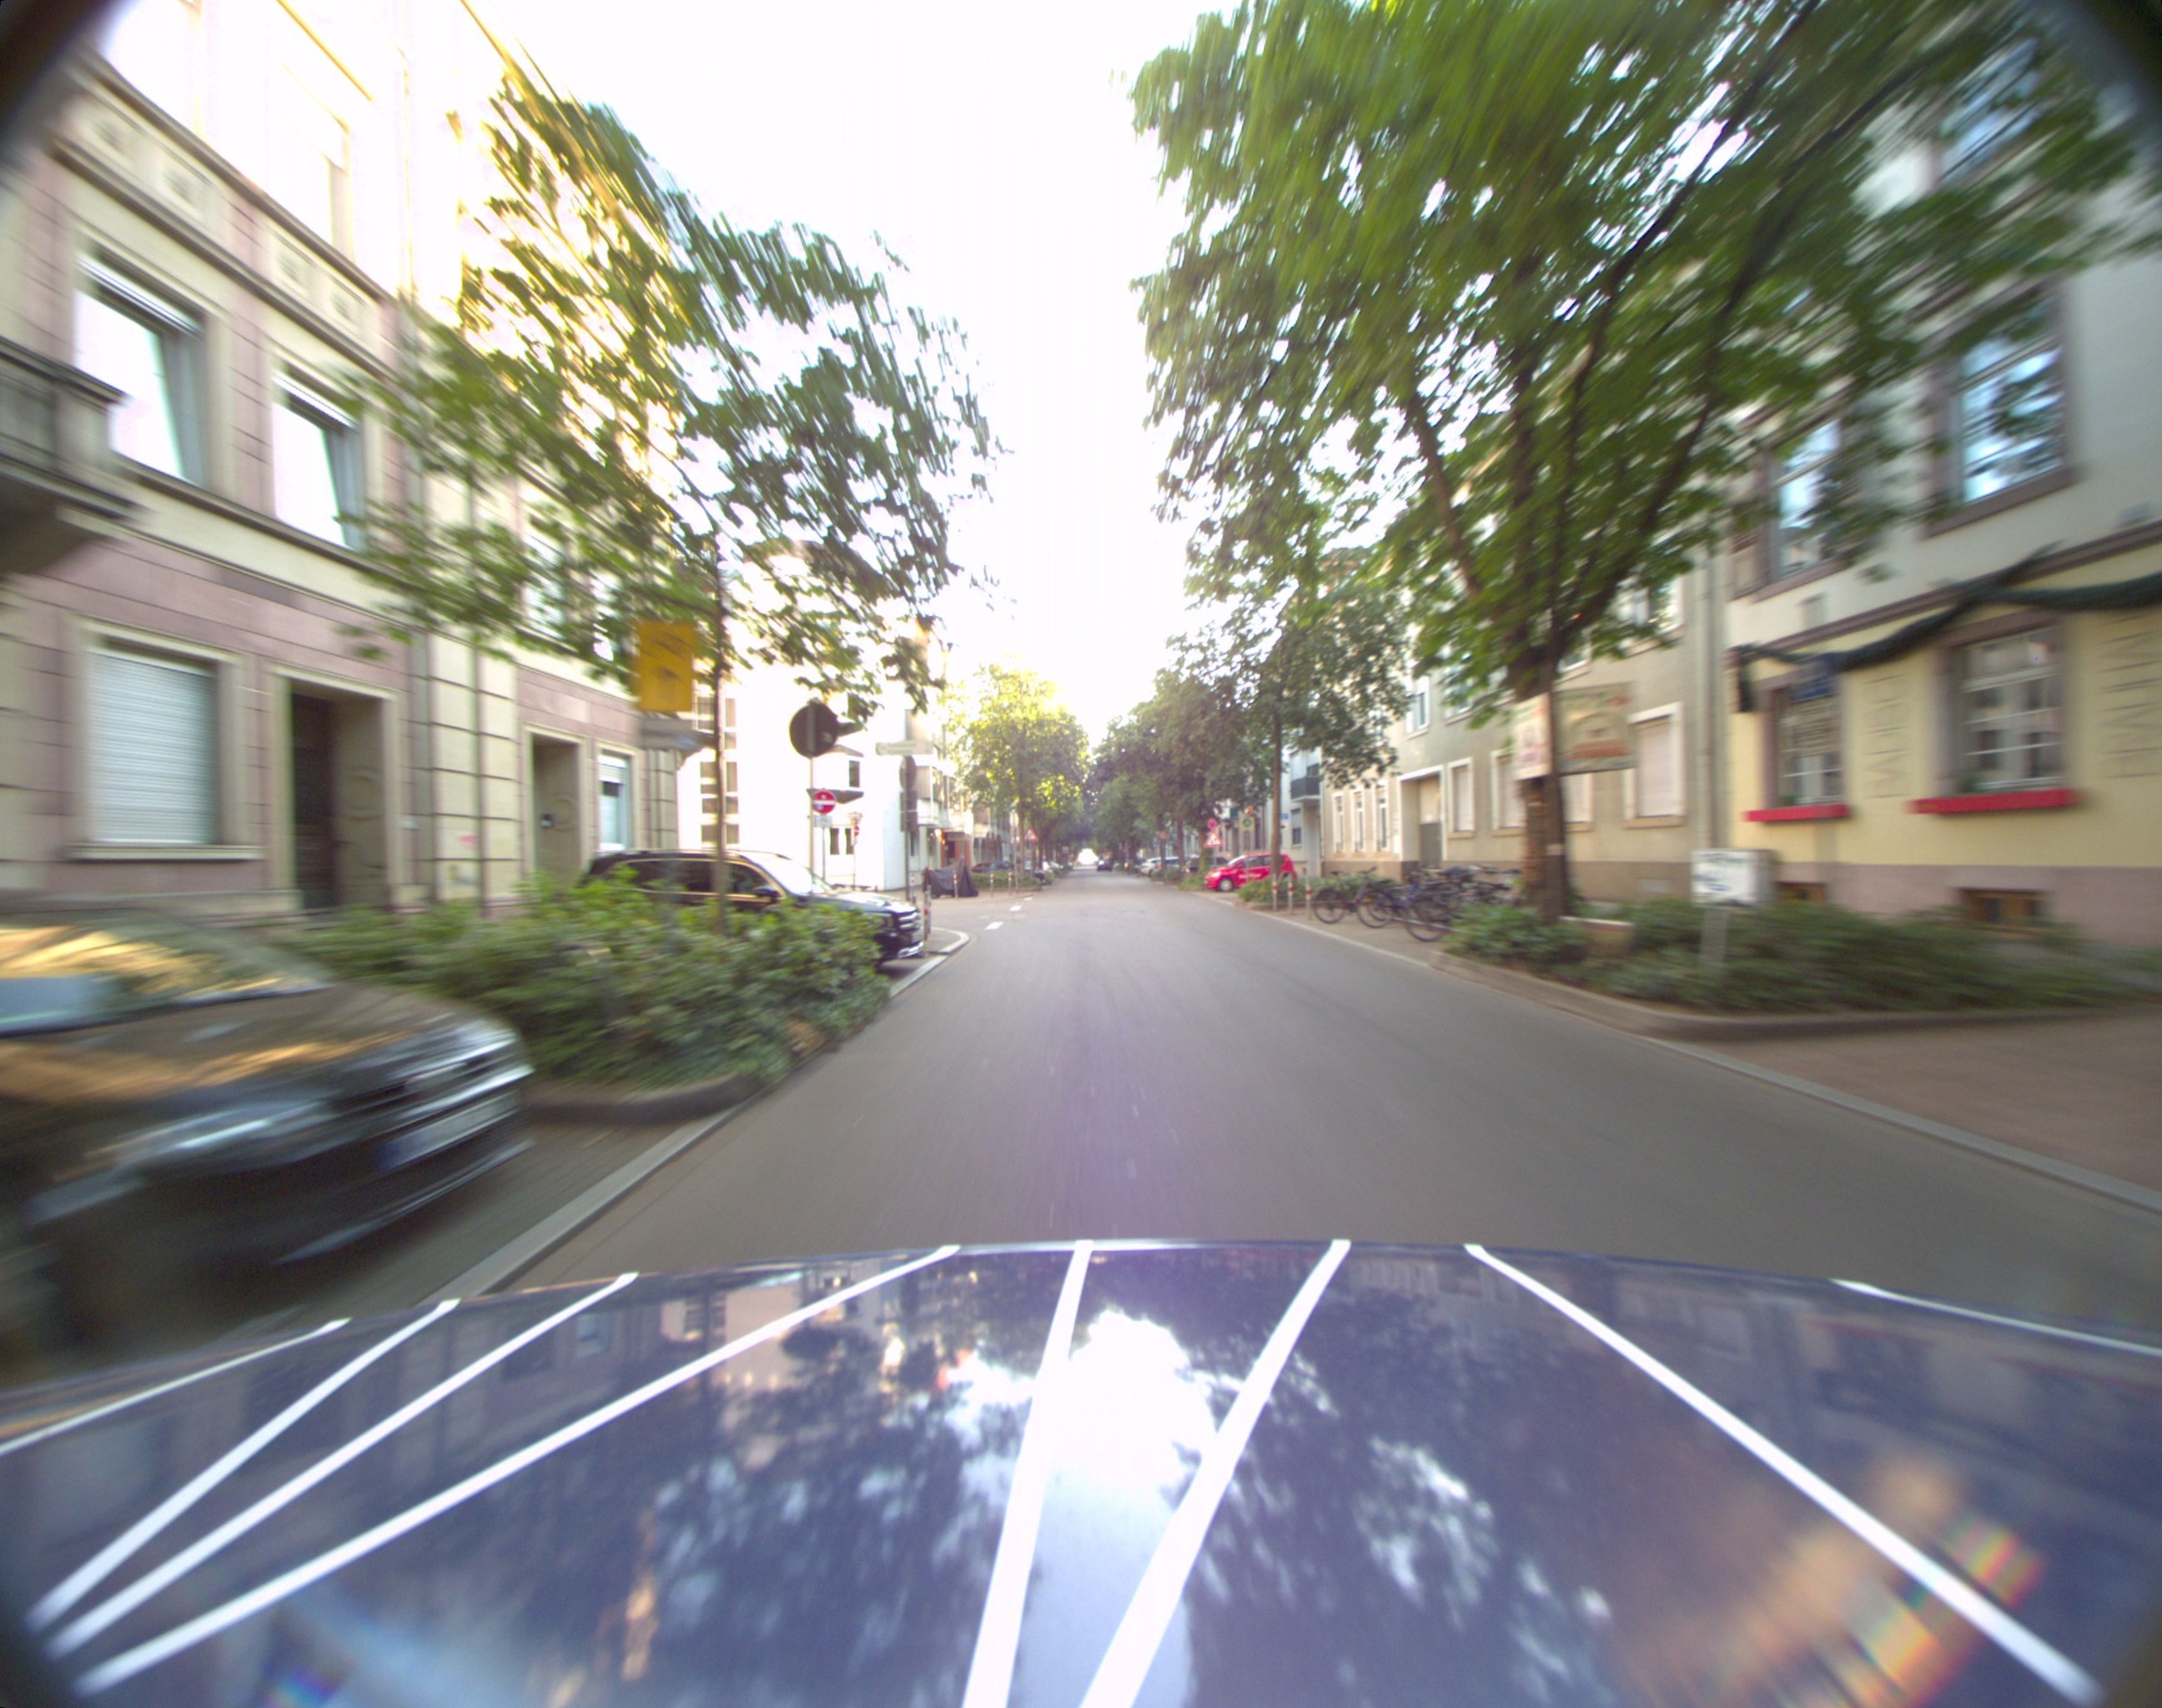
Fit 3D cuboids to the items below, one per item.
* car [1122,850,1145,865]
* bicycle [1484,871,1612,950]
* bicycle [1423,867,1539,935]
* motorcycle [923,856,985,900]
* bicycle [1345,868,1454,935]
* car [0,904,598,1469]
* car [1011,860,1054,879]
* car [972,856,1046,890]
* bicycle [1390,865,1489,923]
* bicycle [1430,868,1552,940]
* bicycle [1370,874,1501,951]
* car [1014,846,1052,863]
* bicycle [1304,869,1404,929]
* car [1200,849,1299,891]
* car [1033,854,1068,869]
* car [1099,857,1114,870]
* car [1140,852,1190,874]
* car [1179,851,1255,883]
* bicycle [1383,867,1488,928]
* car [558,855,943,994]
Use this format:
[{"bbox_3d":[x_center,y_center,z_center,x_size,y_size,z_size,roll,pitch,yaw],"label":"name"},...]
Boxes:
[{"bbox_3d":[5.465,0.357,79.418,1.998,1.368,3.999,-3,1,0],"label":"car"},{"bbox_3d":[7.201,0.856,11.735,1.712,1.093,0.480,-3,1,-6],"label":"bicycle"},{"bbox_3d":[7.302,0.843,13.882,1.869,1.093,0.509,-3,1,-6],"label":"bicycle"},{"bbox_3d":[-4.949,0.915,29.493,2.248,1.537,0.772,-3,1,-15],"label":"motorcycle"},{"bbox_3d":[6.042,0.894,14.425,1.869,1.138,0.480,-3,1,-6],"label":"bicycle"},{"bbox_3d":[-4.413,0.973,2.968,3.875,1.419,1.781,1,0,-1],"label":"car"},{"bbox_3d":[-4.193,1.326,66.149,3.552,1.411,1.590,-4,0,0],"label":"car"},{"bbox_3d":[-4.240,1.111,45.228,4.166,1.665,1.590,-4,0,0],"label":"car"},{"bbox_3d":[7.507,0.820,15.923,1.869,1.093,0.480,-3,1,-6],"label":"bicycle"},{"bbox_3d":[7.097,0.852,13.172,1.869,1.093,0.480,-3,1,-6],"label":"bicycle"},{"bbox_3d":[5.655,0.922,12.144,1.869,1.093,0.480,-3,1,-6],"label":"bicycle"},{"bbox_3d":[-4.702,0.071,74.399,3.552,1.411,1.590,-4,0,0],"label":"car"},{"bbox_3d":[5.611,0.914,15.614,1.869,1.092,0.480,-3,1,-6],"label":"bicycle"},{"bbox_3d":[6.732,0.631,30.567,3.497,1.397,1.673,-4,0,-2],"label":"car"},{"bbox_3d":[-3.450,0.807,86.507,3.997,1.565,1.929,-1,0,-1],"label":"car"},{"bbox_3d":[3.092,1.134,93.703,1.673,1.411,3.555,-4,0,1],"label":"car"},{"bbox_3d":[6.359,0.688,57.728,3.552,1.411,1.590,-4,0,0],"label":"car"},{"bbox_3d":[6.975,0.661,39.173,3.552,1.411,1.590,-4,0,-2],"label":"car"},{"bbox_3d":[7.007,0.849,15.054,1.869,1.093,0.480,-3,1,-6],"label":"bicycle"},{"bbox_3d":[-4.339,0.860,10.342,4.420,1.552,1.867,2,0,7],"label":"car"}]
